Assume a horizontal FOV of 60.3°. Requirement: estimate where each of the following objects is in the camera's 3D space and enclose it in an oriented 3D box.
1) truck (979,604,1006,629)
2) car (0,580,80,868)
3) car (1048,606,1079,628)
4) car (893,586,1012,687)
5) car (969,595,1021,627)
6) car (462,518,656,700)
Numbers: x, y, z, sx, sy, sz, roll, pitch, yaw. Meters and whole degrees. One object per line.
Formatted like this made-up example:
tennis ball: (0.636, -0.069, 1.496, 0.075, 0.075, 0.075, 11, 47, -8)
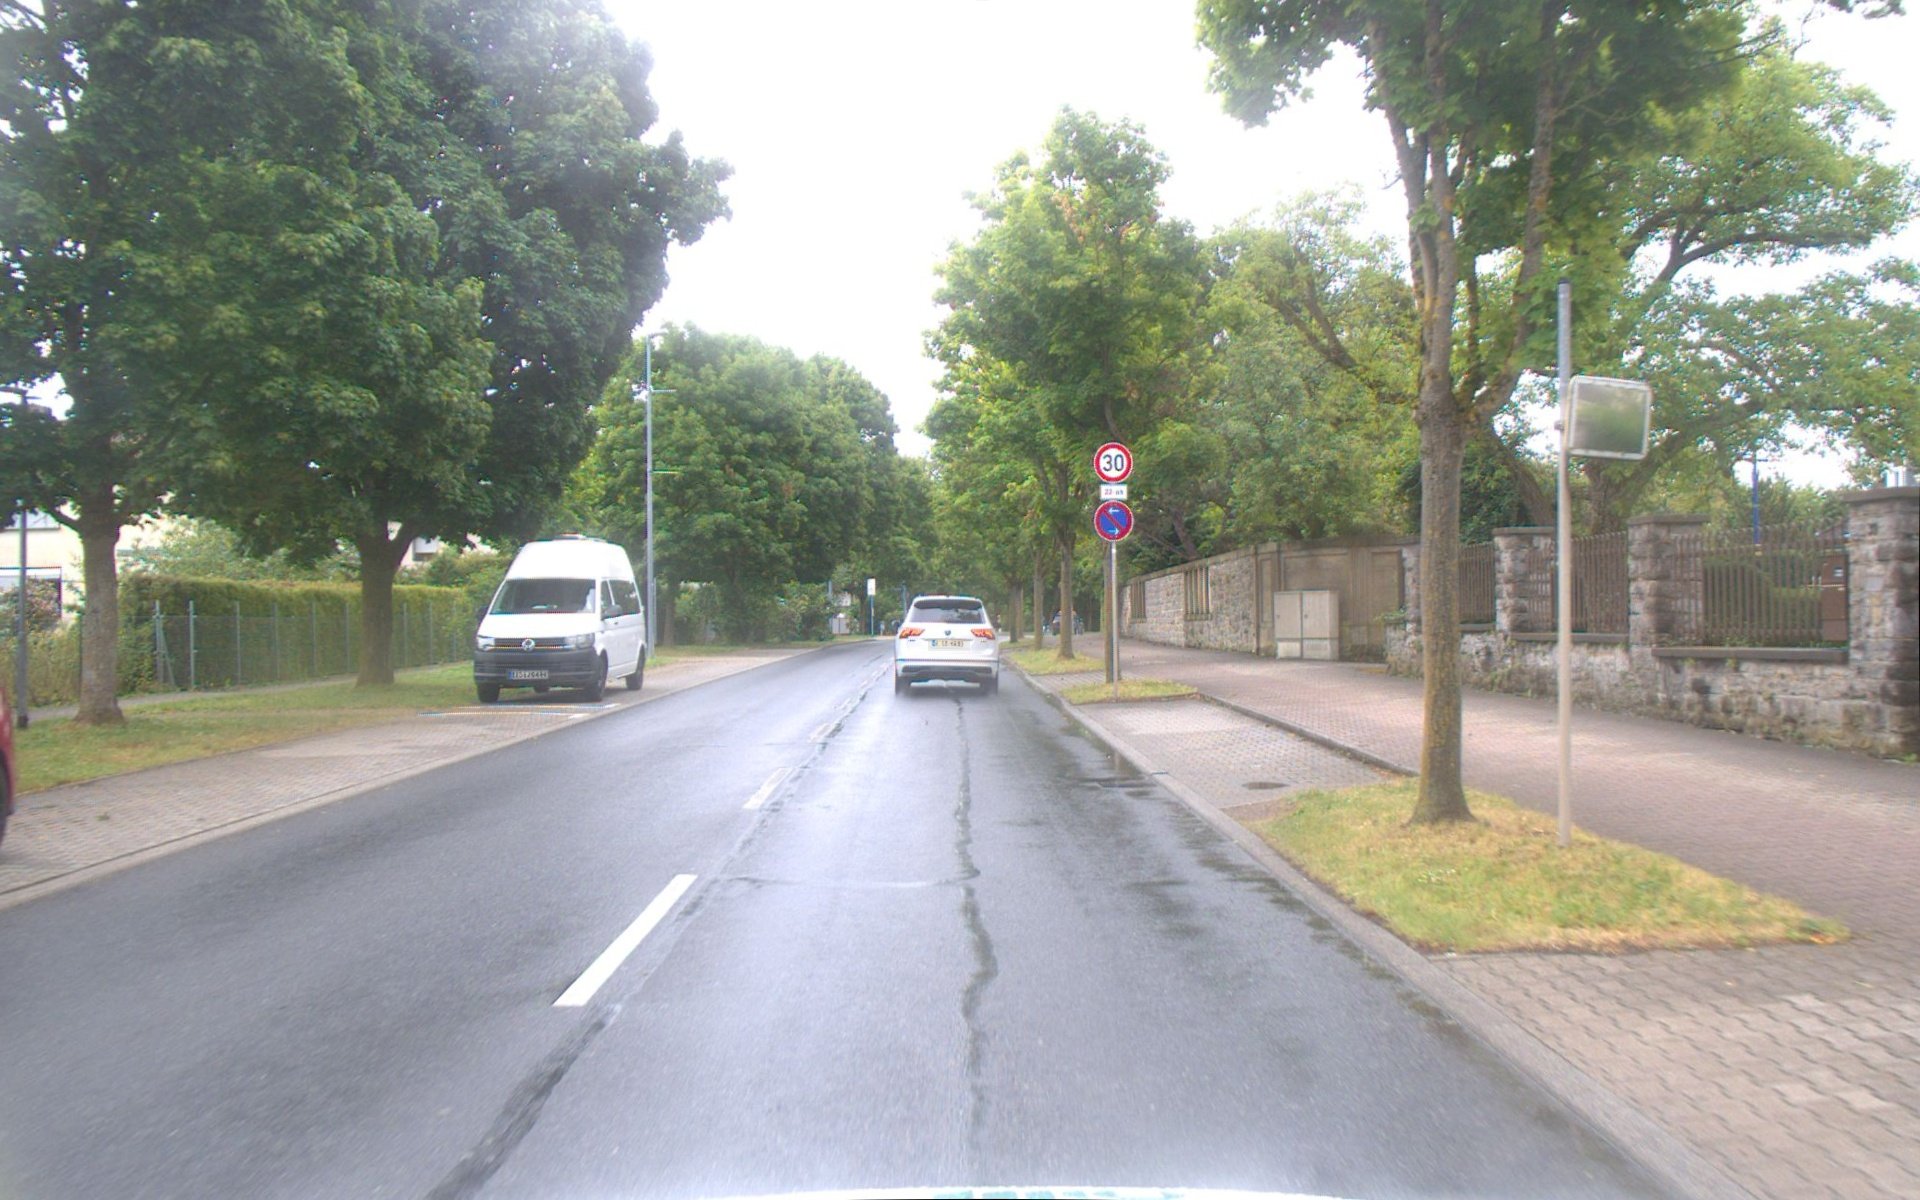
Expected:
truck: (3.586, 1.806, 179.388, 2.236, 2.642, 5.878, -1, -1, 8)
car: (-5.840, 0.658, 7.232, 1.806, 1.491, 4.248, 0, 0, -2)
car: (7.436, 1.224, 118.438, 1.801, 1.513, 4.003, -3, -1, 8)
car: (-0.162, 0.601, 29.468, 1.956, 1.660, 3.999, 1, 0, -1)
car: (1.799, 0.575, 83.984, 1.801, 1.513, 4.003, 2, 0, 13)
car: (-6.303, 0.118, 26.657, 1.953, 2.606, 5.231, -1, 0, -2)
